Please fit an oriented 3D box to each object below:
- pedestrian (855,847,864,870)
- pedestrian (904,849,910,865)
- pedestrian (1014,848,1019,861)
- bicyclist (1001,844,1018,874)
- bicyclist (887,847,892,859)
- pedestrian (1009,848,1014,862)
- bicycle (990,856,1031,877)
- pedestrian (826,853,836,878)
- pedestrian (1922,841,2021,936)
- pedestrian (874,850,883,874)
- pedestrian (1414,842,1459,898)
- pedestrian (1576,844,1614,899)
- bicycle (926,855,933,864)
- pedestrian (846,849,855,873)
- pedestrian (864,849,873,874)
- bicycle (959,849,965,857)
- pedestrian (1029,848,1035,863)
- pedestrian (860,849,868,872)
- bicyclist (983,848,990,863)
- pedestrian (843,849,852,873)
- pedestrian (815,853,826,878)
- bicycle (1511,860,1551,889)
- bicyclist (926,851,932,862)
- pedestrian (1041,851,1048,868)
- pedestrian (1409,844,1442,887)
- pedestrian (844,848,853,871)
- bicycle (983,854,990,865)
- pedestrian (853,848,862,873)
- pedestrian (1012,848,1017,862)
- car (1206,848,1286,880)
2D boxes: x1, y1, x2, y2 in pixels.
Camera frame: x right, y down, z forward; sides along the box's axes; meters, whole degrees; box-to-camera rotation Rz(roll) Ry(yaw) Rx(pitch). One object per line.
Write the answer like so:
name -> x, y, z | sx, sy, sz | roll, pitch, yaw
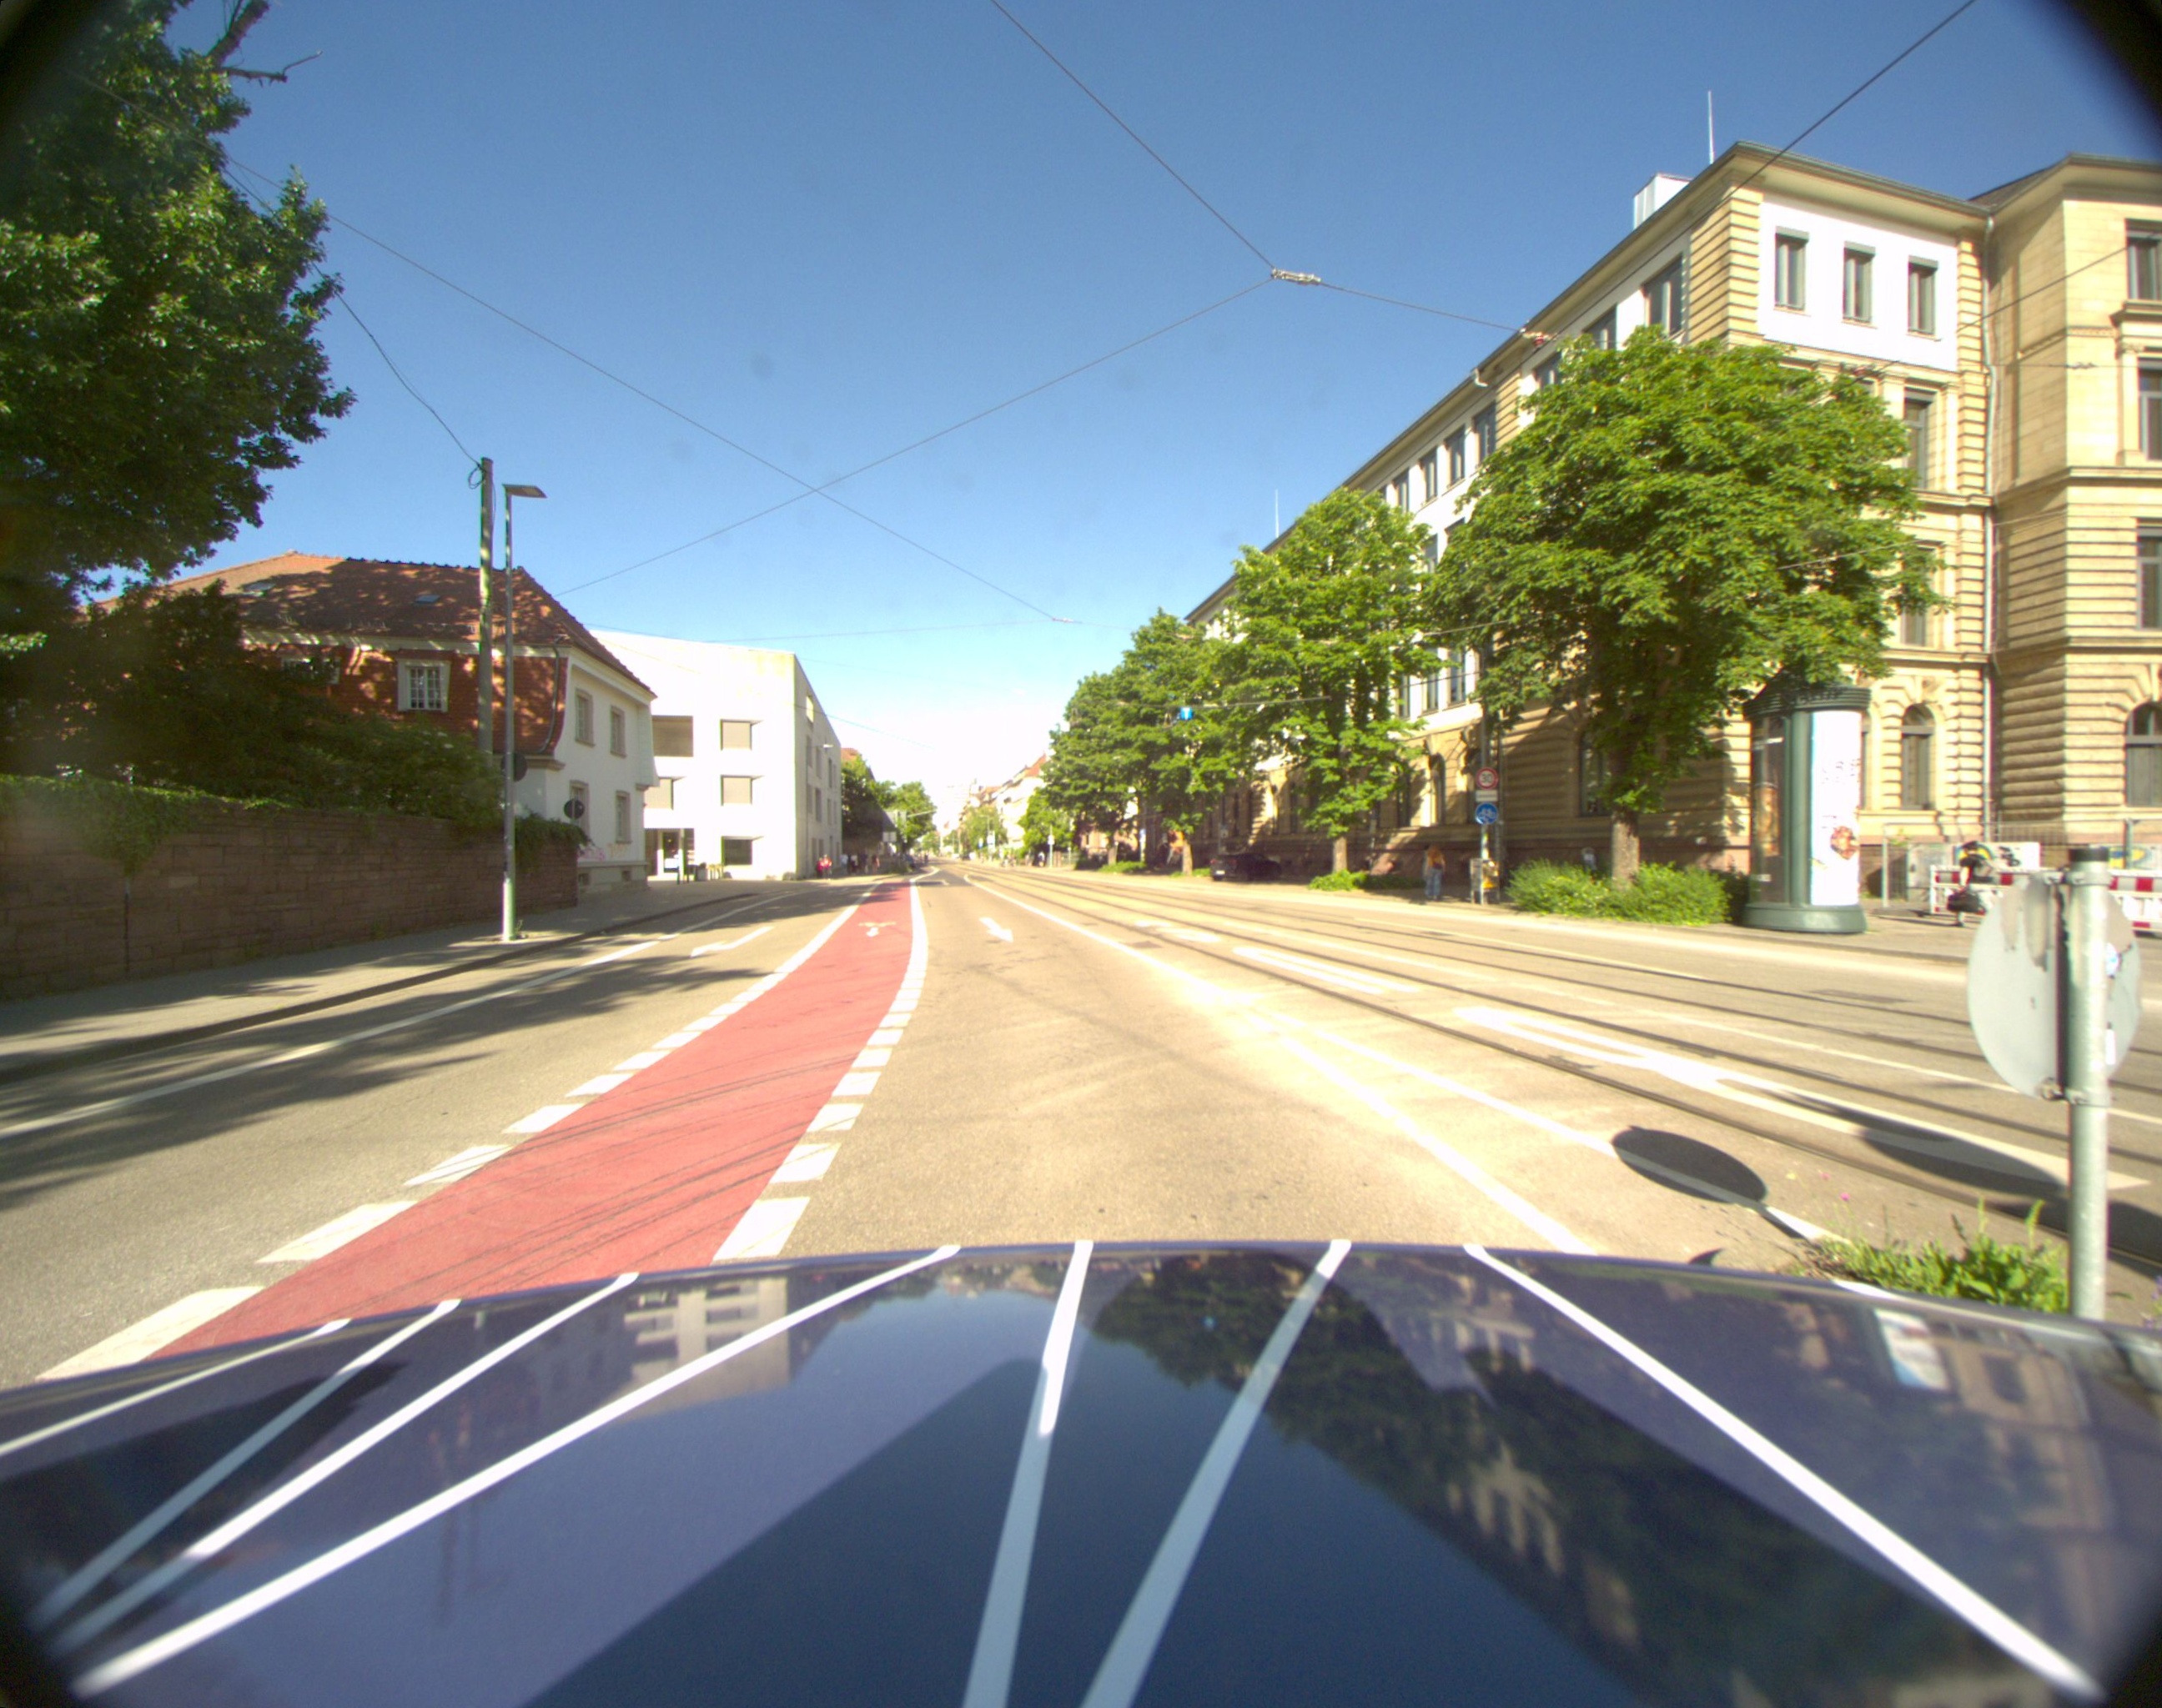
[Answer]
pedestrian -> -17.334, 0.334, 59.537 | 0.588, 1.795, 0.545 | -1, 1, -13
pedestrian -> -19.192, 0.311, 83.788 | 0.679, 1.728, 0.931 | 0, 1, -10
pedestrian -> -8.763, 0.074, 103.612 | 0.579, 1.845, 0.684 | -1, 1, -11
bicyclist -> -7.056, 0.482, 75.078 | 1.474, 2.959, 1.003 | -2, 2, -9
bicyclist -> -35.183, -0.224, 139.798 | 0.813, 2.194, 0.983 | -2, 2, -10
pedestrian -> -9.411, 0.097, 103.439 | 0.579, 1.845, 0.684 | -1, 1, -11
bicycle -> -6.965, 1.248, 75.129 | 3.894, 1.876, 1.003 | -2, 2, -9
pedestrian -> -15.973, 0.720, 48.471 | 0.535, 1.557, 0.519 | -1, 1, -13
pedestrian -> 16.350, 0.608, 13.974 | 0.729, 1.660, 0.845 | 0, 3, -2
pedestrian -> -14.994, 0.593, 56.171 | 0.588, 1.717, 0.519 | -1, 1, -13
pedestrian -> 10.940, 0.507, 23.399 | 1.035, 1.658, 0.770 | 2, -4, -27
pedestrian -> 14.560, 0.484, 21.525 | 0.579, 1.553, 0.653 | -1, 1, -12
bicycle -> -19.778, 0.715, 99.199 | 0.665, 1.146, 1.670 | -2, 2, -8
pedestrian -> -17.436, 0.514, 57.564 | 0.588, 1.795, 0.582 | -1, 1, -13
pedestrian -> -15.624, 0.523, 55.769 | 0.588, 1.795, 0.519 | -1, 1, -13
bicycle -> -25.276, -0.146, 161.524 | 1.004, 1.672, 2.980 | -2, 2, -12
pedestrian -> -6.003, 0.130, 92.904 | 0.579, 1.845, 0.653 | -1, 1, -11
pedestrian -> -16.529, 0.484, 57.873 | 0.588, 1.795, 0.582 | -1, 1, -13
bicyclist -> -14.917, 0.241, 119.581 | 1.004, 2.255, 1.019 | -2, 2, -9
pedestrian -> -17.090, 0.502, 55.664 | 0.588, 1.795, 0.545 | -1, 1, -13
pedestrian -> -16.573, 0.736, 48.352 | 0.535, 1.557, 0.519 | -1, 1, -13
bicycle -> 15.292, 0.689, 25.839 | 0.398, 0.898, 1.359 | -2, 2, -10
bicyclist -> -19.786, 0.313, 99.165 | 0.665, 1.453, 0.622 | -2, 2, -8
pedestrian -> -3.976, 0.564, 83.151 | 0.729, 1.845, 0.653 | 0, 1, -9
pedestrian -> 13.216, 0.431, 29.186 | 0.858, 1.558, 0.672 | -4, 2, -7
pedestrian -> -18.145, 0.417, 59.342 | 0.588, 1.795, 0.545 | -1, 1, -13
bicycle -> -14.904, 0.841, 119.648 | 1.004, 1.672, 2.981 | -2, 2, -9
pedestrian -> -16.426, 0.477, 55.897 | 0.588, 1.795, 0.545 | -1, 1, -13
pedestrian -> -8.770, 0.169, 100.044 | 0.579, 1.845, 0.684 | -1, 1, -11
car -> 8.590, 0.496, 39.511 | 4.118, 1.565, 1.916 | -1, 1, -39
